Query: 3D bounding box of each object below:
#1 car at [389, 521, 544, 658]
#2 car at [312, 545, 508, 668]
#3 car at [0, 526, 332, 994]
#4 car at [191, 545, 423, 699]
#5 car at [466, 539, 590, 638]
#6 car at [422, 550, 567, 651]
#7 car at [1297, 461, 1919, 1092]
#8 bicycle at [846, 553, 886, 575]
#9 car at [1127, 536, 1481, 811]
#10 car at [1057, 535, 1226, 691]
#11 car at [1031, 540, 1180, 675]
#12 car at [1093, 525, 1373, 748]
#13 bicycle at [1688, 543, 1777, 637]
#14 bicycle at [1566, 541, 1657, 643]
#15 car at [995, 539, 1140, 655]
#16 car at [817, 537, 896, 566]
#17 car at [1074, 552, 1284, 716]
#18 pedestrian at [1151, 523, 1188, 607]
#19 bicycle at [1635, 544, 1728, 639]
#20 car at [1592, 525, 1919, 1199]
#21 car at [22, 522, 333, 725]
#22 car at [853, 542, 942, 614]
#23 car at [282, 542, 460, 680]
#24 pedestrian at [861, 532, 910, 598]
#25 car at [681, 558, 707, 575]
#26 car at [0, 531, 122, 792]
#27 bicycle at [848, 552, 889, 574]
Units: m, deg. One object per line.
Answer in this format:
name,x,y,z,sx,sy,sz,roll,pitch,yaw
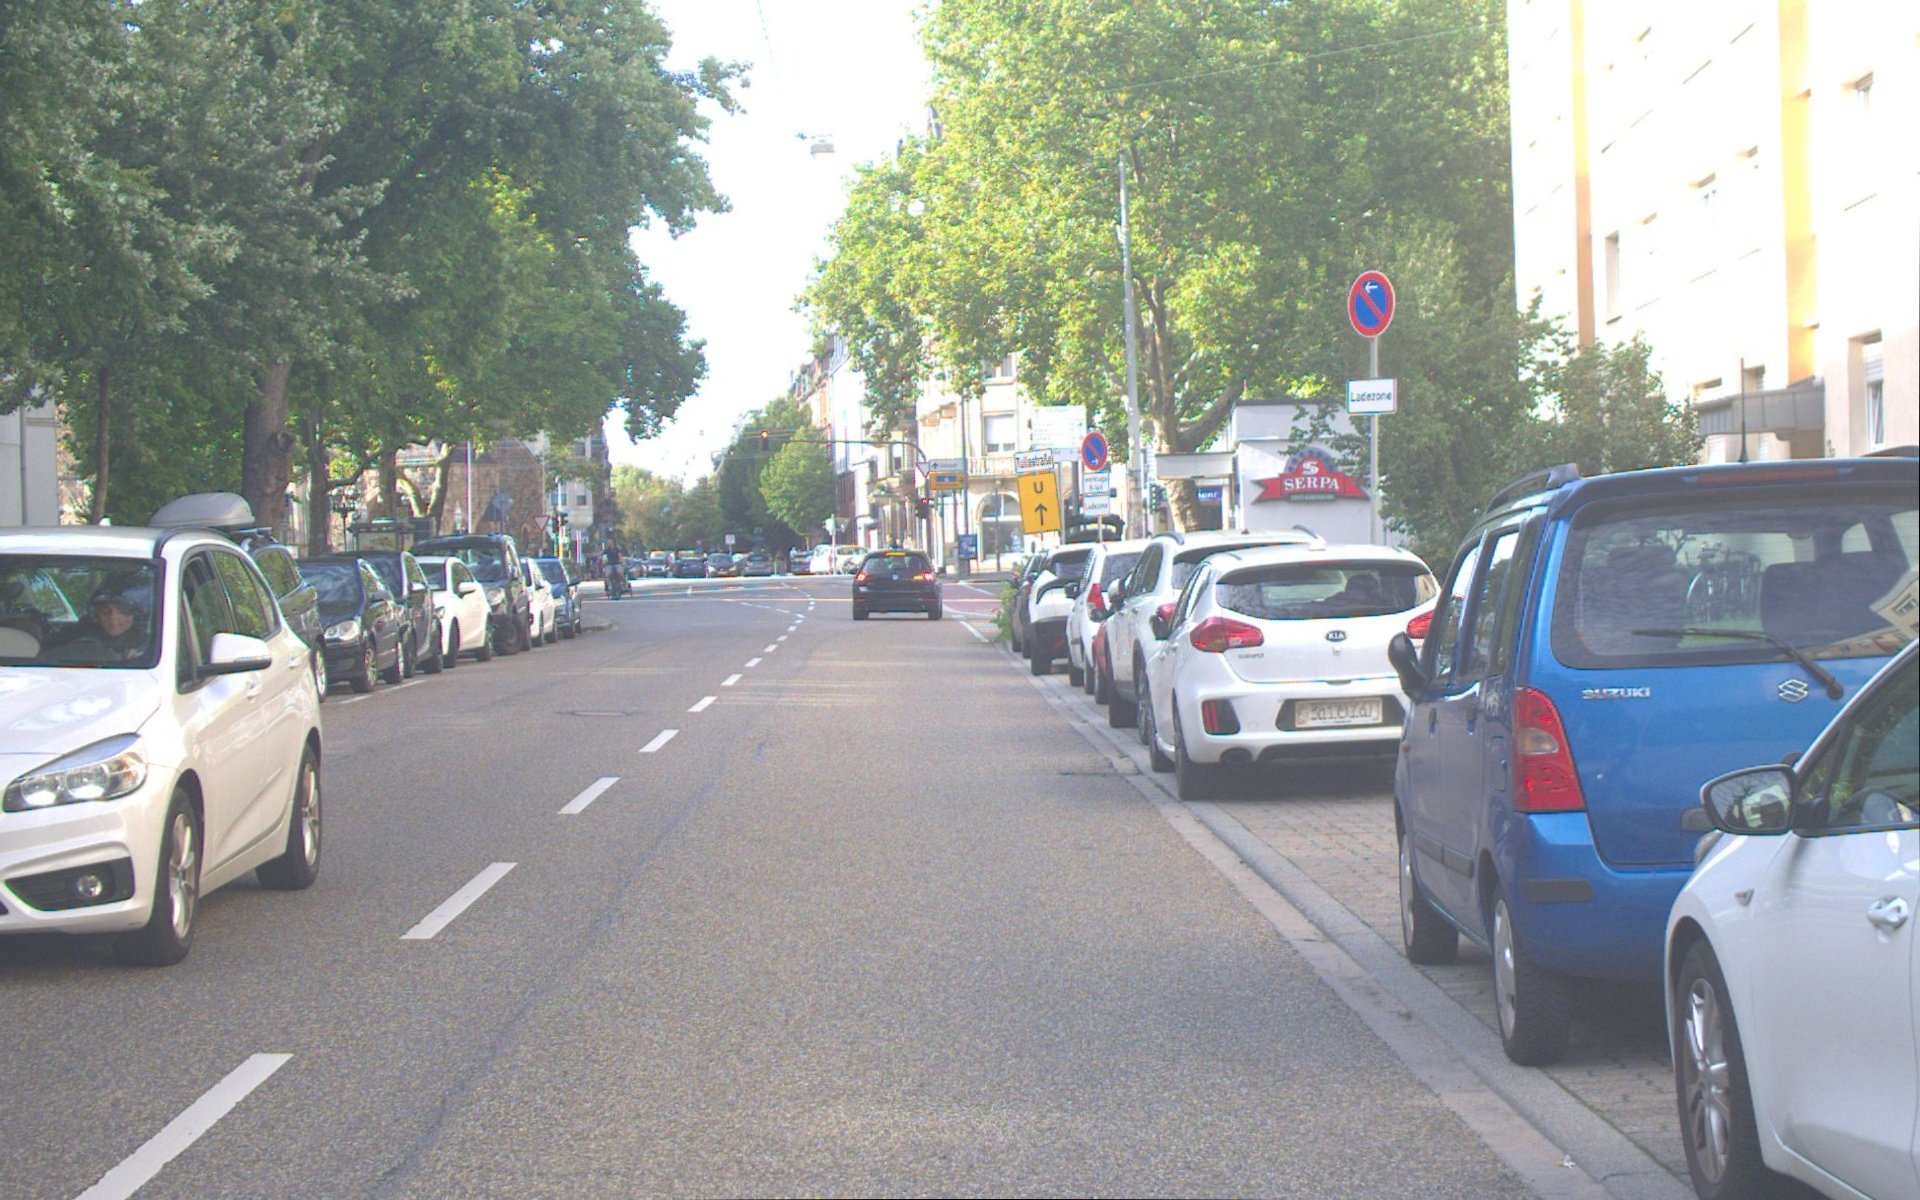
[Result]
car,-7.335,-0.188,51.392,1.723,1.876,4.192,-3,1,-1
car,-7.311,0.052,46.069,1.694,1.488,4.332,-2,1,2
car,-3.721,0.499,13.237,1.859,1.523,4.011,-1,1,0
car,-6.989,0.193,37.149,1.700,1.482,3.848,-3,1,0
car,-7.652,-0.226,61.130,1.799,1.614,3.803,-3,1,-3
car,-7.614,-0.026,56.557,1.799,1.488,3.803,-3,1,0
car,2.255,0.437,11.244,1.728,1.644,4.117,-2,1,-2
bicycle,-4.954,-1.899,180.929,2.022,1.078,0.631,-1,1,-14
car,2.044,0.384,21.605,1.728,1.482,4.641,-2,1,0
car,1.868,0.107,36.114,1.551,1.552,3.468,0,1,0
car,1.737,0.052,41.858,1.690,1.523,4.237,-1,1,2
car,2.088,0.244,27.373,1.728,1.575,4.117,-2,1,-2
bicycle,9.447,-0.136,42.127,0.529,1.111,2.209,-2,1,-1
bicycle,8.002,-0.110,42.303,0.597,1.183,2.209,-4,1,-1
car,1.459,-0.070,48.026,1.689,1.523,4.238,-1,1,-2
car,-5.496,-2.567,182.646,3.986,1.415,2.000,-1,1,-8
car,2.001,0.278,32.258,1.515,1.393,3.677,-2,1,-3
pedestrian,4.093,-0.686,67.224,0.652,1.639,0.743,0,1,-1
bicycle,8.826,-0.119,42.129,0.597,1.111,2.209,-2,1,-1
car,2.441,0.570,6.070,1.728,1.456,4.117,-2,1,-2
car,-7.210,0.164,32.137,1.799,1.662,4.483,-3,1,0
car,-1.302,-0.468,70.084,1.751,1.409,4.000,0,1,-2
car,-7.103,0.105,41.681,1.553,1.515,3.016,-3,1,0
pedestrian,-1.984,-0.944,91.547,1.074,1.747,0.919,0,1,-17
car,-19.831,-2.485,256.459,1.778,1.225,3.588,0,1,-2
car,-6.896,0.391,22.900,1.738,1.614,3.995,-3,1,-2
bicycle,-4.788,-1.939,180.325,2.022,1.078,0.620,-1,1,-14
